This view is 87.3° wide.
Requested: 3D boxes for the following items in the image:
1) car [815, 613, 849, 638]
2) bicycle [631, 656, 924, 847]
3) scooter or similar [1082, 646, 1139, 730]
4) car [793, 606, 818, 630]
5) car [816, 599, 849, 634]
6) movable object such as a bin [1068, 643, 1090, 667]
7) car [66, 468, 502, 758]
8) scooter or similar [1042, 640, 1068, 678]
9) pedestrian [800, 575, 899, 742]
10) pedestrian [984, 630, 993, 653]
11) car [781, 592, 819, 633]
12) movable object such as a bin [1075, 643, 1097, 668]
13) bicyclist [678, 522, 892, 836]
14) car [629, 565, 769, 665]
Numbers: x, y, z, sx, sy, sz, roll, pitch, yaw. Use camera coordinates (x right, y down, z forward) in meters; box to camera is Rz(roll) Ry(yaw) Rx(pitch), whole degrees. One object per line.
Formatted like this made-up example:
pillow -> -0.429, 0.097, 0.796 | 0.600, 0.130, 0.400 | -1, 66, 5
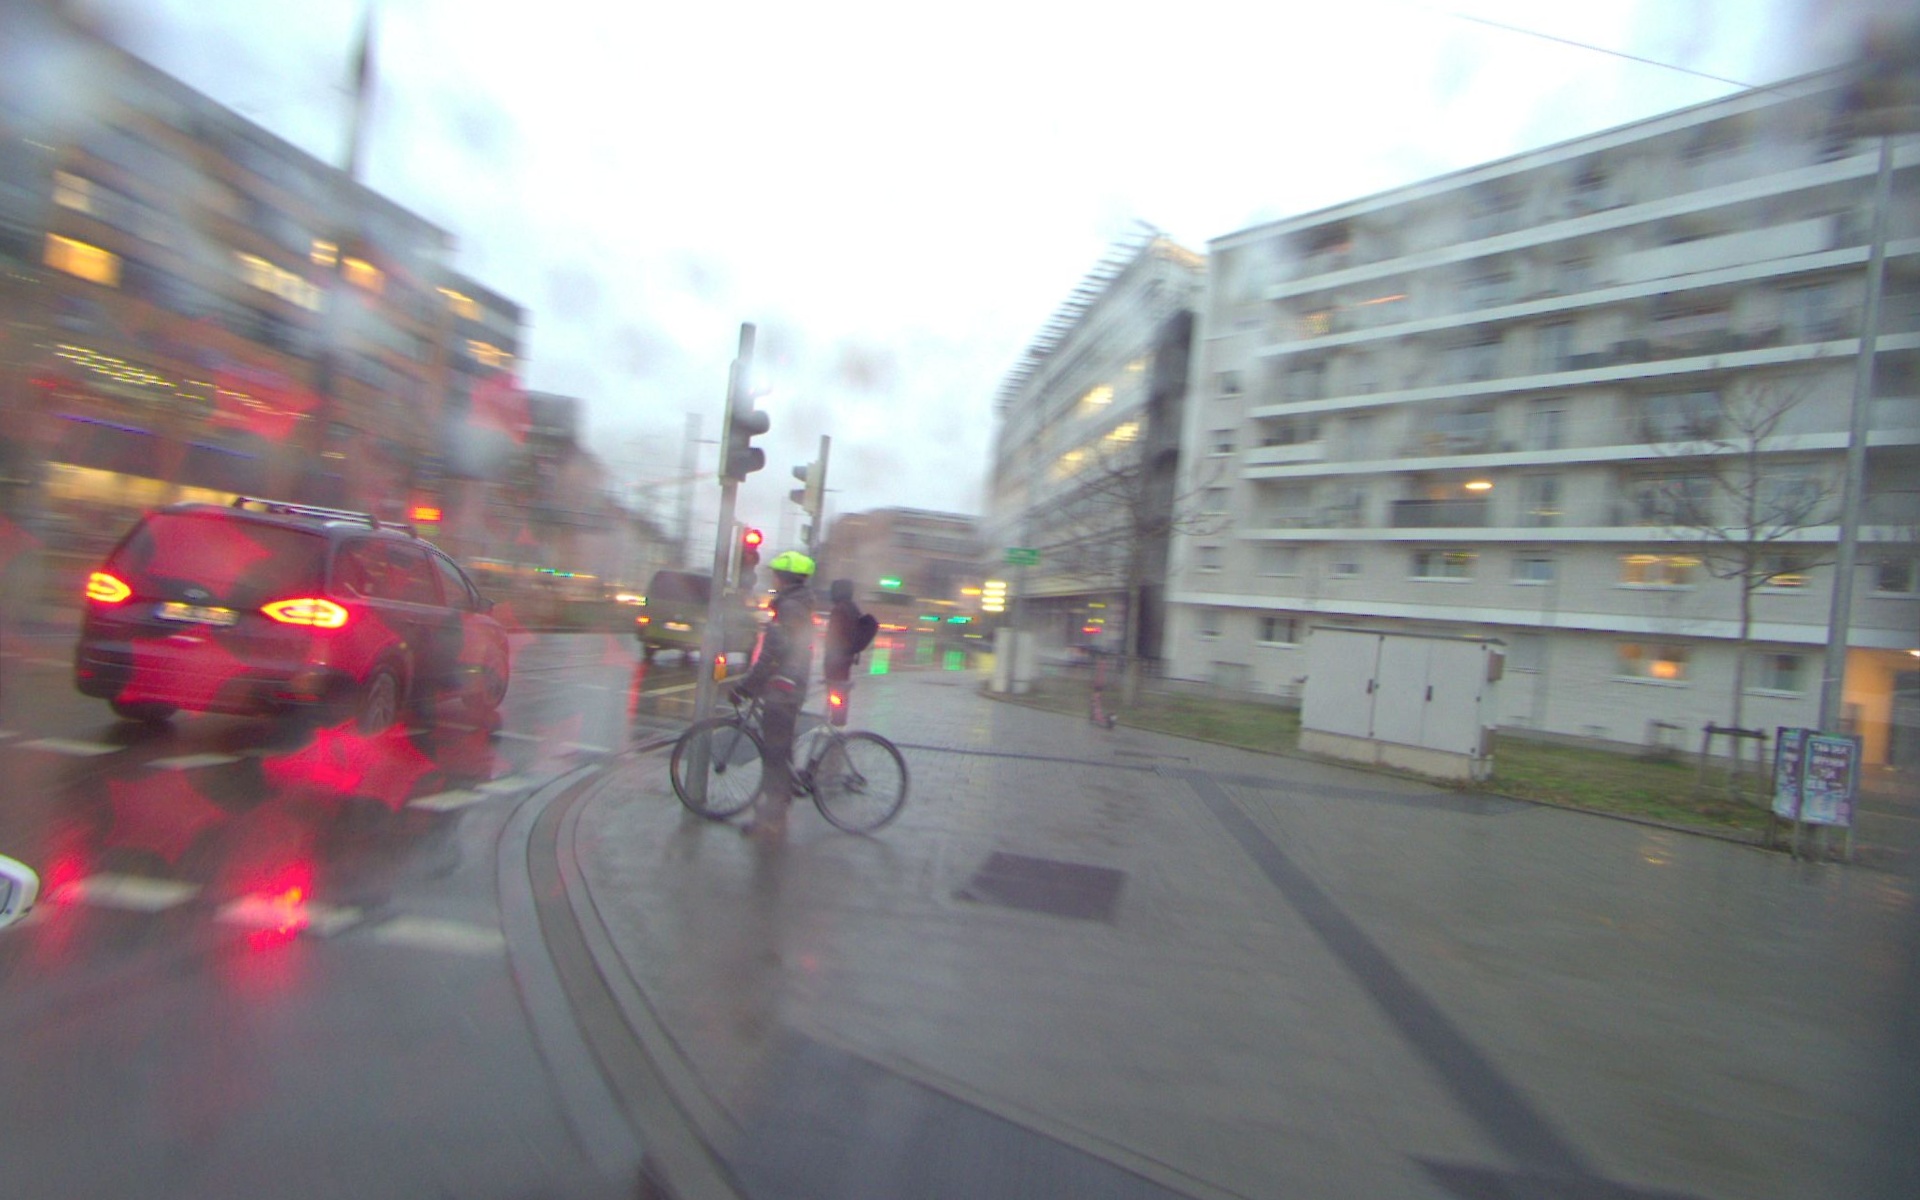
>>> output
car -> -7.909, 1.587, 62.451 | 1.615, 1.377, 3.734 | 7, -2, -2
bicycle -> -1.261, 0.990, 6.930 | 1.832, 0.985, 0.657 | 6, -1, 22
scooter or similar -> 2.391, 1.382, 16.078 | 0.328, 1.221, 1.306 | 6, -1, -12
car -> -11.635, 1.393, 76.015 | 1.496, 1.537, 3.471 | 7, -2, -5
car -> -11.735, 1.534, 92.940 | 2.320, 2.860, 6.359 | 7, -2, -4
movable object such as a bin -> 7.004, 3.219, 59.230 | 0.832, 1.310, 1.166 | 5, -1, -11
car -> -5.478, 0.126, 8.844 | 1.652, 1.800, 3.992 | 7, -1, -12
scooter or similar -> 3.406, 2.121, 35.926 | 0.657, 1.240, 1.559 | 6, -3, 11
pedestrian -> -1.322, 0.705, 12.072 | 0.626, 1.900, 0.773 | 6, -1, 38
pedestrian -> 2.232, 3.259, 79.041 | 0.523, 1.703, 0.745 | 6, -1, -1
car -> -10.937, 0.870, 69.225 | 1.965, 2.456, 5.972 | 7, -2, -5
movable object such as a bin -> 7.239, 3.203, 57.813 | 0.832, 1.310, 1.166 | 5, -1, -11
bicyclist -> -1.172, 0.507, 6.845 | 0.971, 1.913, 0.793 | 6, 0, 22
car -> -5.756, 0.380, 22.791 | 1.815, 1.827, 4.489 | 7, -2, 0
